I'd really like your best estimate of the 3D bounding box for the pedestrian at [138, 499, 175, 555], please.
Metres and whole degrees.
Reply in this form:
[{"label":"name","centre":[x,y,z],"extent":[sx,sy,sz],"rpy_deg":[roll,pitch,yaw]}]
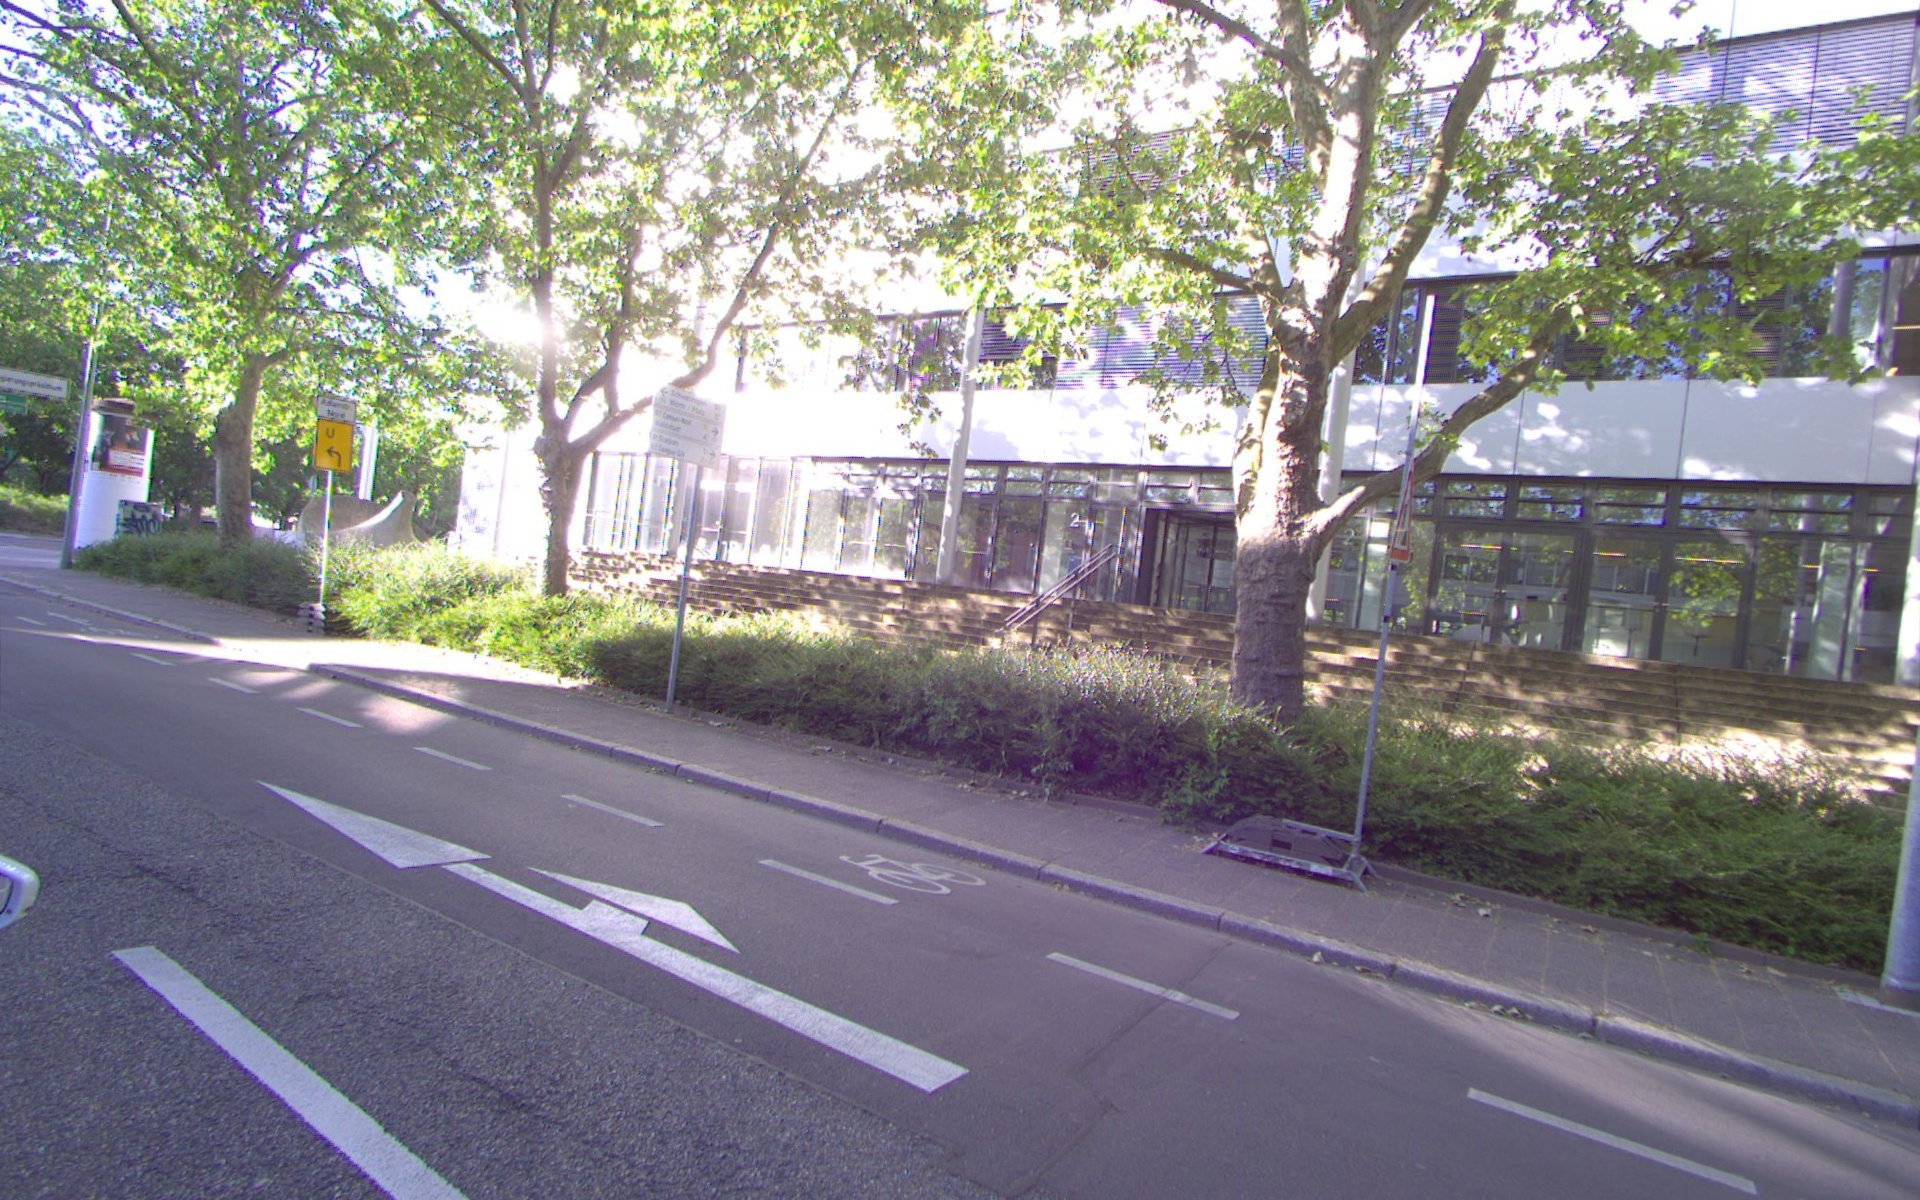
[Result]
[{"label":"pedestrian","centre":[-27.764,-2.529,34.754],"extent":[0.720,1.799,0.734],"rpy_deg":[6,-1,43]}]
